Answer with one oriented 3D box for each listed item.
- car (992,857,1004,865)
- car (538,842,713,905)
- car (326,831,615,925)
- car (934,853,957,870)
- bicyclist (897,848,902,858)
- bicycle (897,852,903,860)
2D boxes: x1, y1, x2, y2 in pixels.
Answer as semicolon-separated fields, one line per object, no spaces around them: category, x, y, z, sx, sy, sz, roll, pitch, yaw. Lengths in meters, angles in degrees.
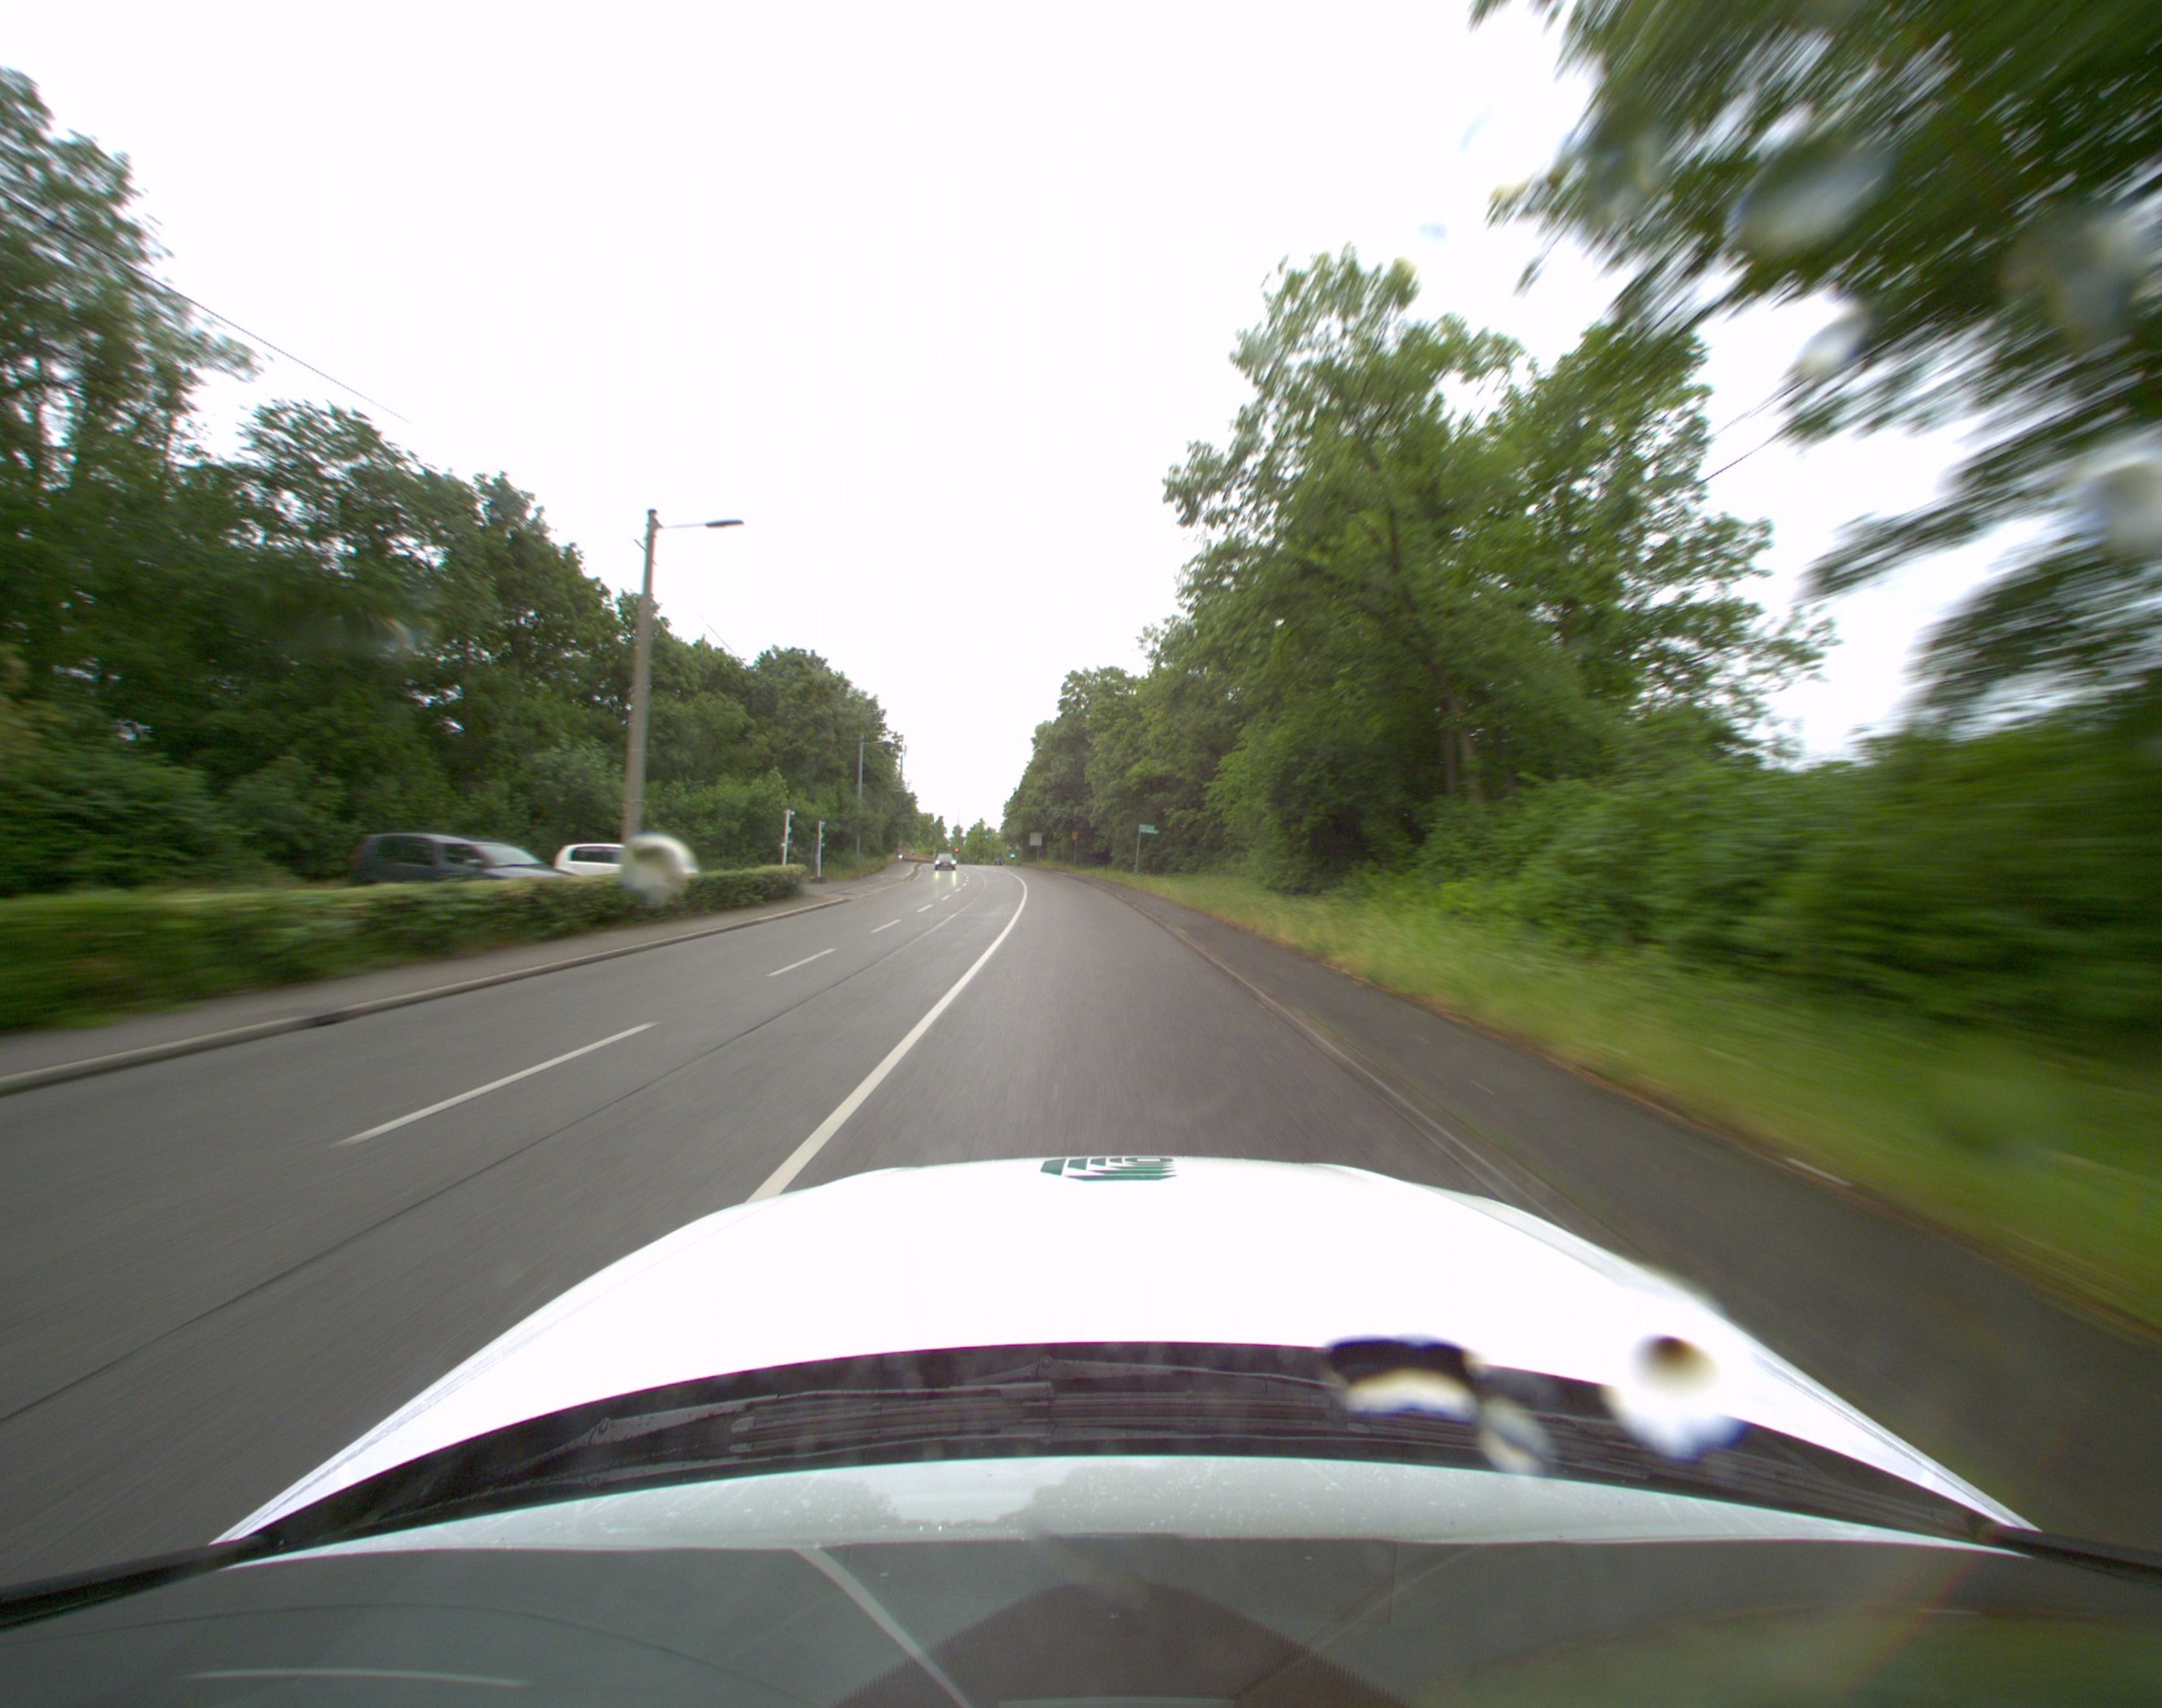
car;-16.448;1.459;162.104;1.929;1.498;4.317;0;0;0
car;-12.181;0.512;21.995;3.638;1.591;1.849;1;0;-5
car;-12.079;0.446;16.341;4.274;1.708;2.001;1;0;2
car;-12.193;0.629;73.051;1.935;1.498;4.302;0;0;-11
bicyclist;-30.046;-0.149;134.950;0.707;1.644;0.945;0;0;-20
bicycle;-30.056;0.355;134.943;0.707;1.242;2.150;0;0;-19
